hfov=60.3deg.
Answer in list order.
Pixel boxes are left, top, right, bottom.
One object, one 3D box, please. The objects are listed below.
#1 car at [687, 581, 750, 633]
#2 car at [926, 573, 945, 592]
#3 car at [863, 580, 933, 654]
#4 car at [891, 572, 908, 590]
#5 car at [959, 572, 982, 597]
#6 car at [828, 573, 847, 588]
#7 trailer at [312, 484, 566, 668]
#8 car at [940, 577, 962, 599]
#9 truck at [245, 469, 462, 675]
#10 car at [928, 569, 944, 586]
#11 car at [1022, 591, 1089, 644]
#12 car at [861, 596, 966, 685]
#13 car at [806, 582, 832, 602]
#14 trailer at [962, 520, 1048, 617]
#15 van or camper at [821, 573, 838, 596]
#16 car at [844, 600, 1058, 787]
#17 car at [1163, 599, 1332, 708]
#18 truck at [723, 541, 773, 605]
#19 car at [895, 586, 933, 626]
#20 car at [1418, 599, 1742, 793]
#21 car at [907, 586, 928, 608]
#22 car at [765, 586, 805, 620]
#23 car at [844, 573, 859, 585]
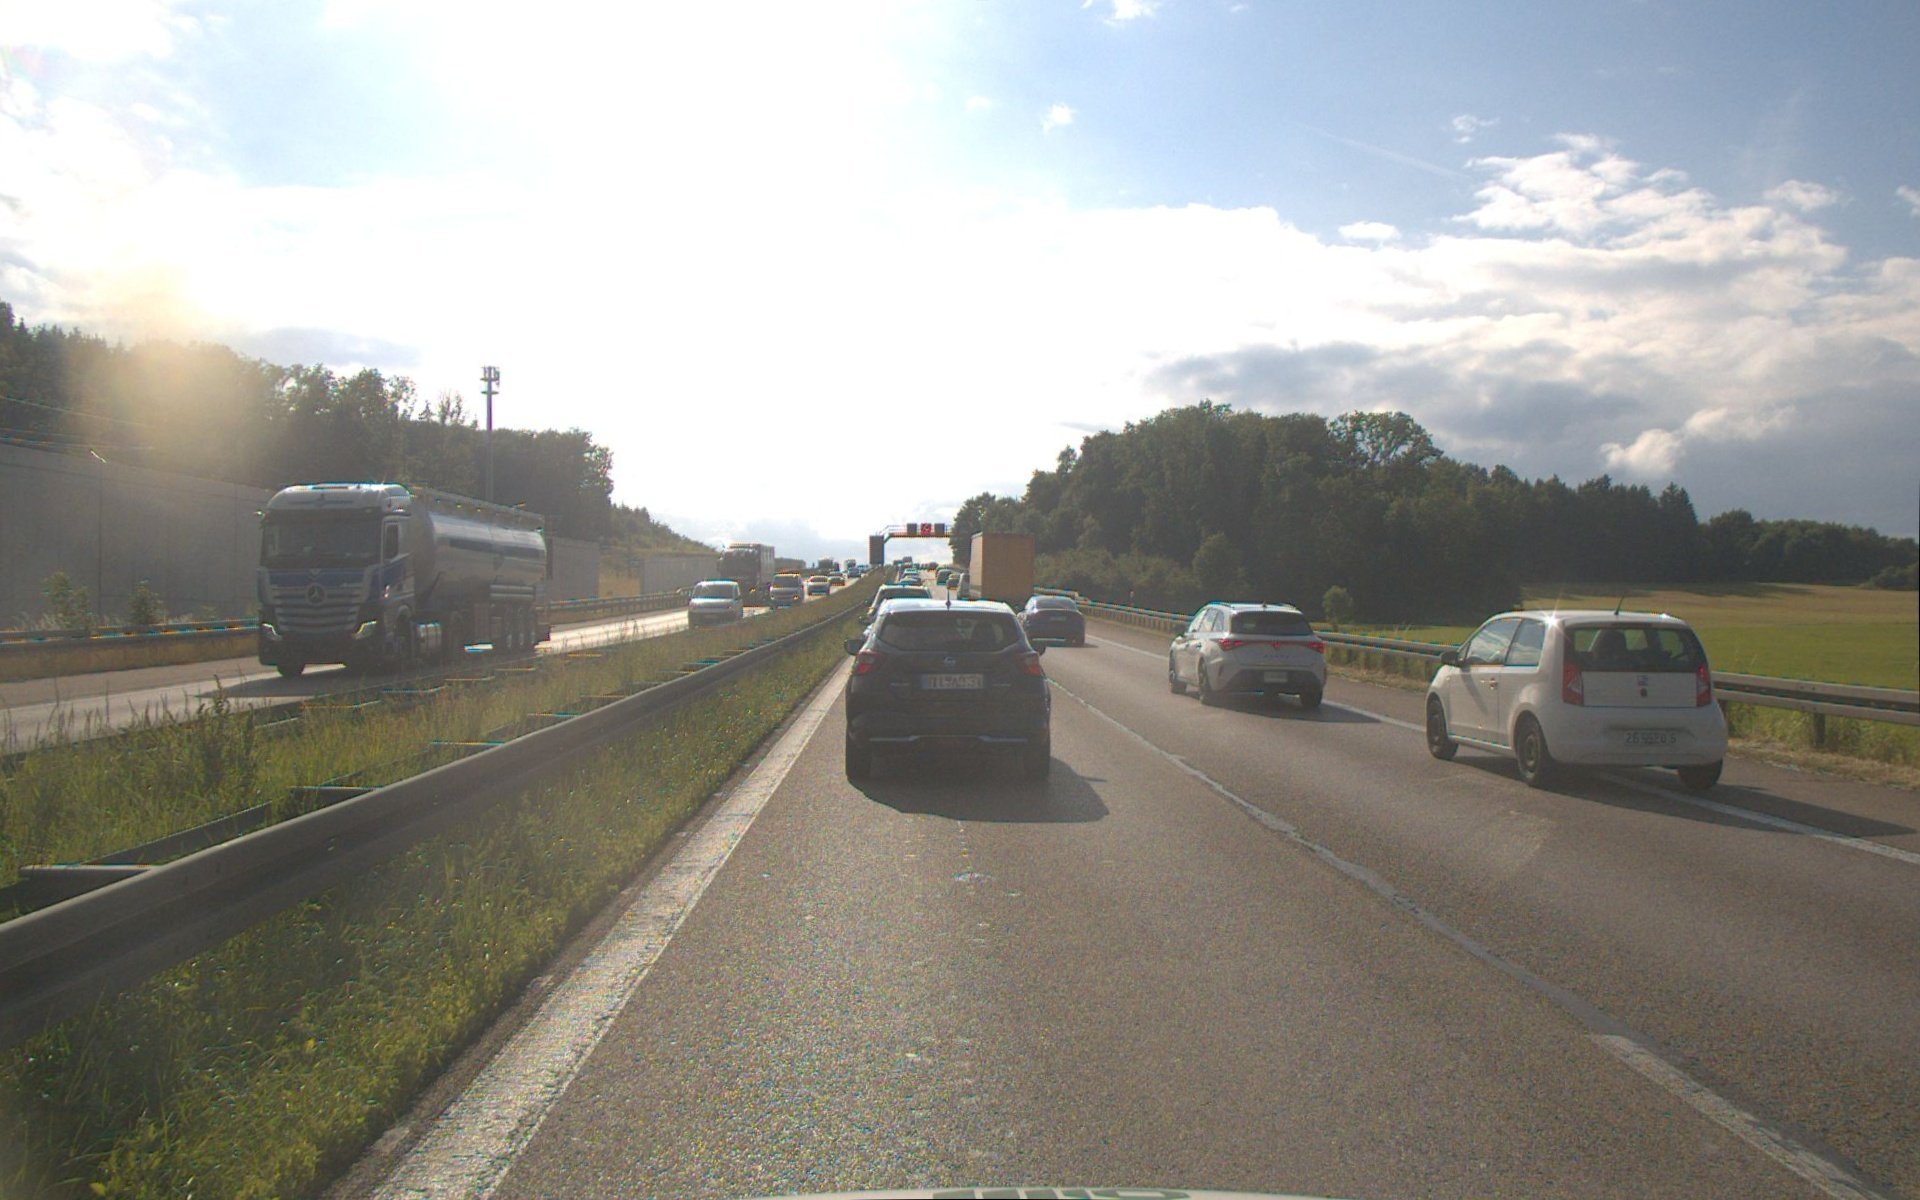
[{"bbox_3d":[-9.156,0.276,63.016,1.822,1.866,4.279,1,0,-1],"label":"car"},{"bbox_3d":[-2.674,-1.878,179.897,1.954,2.049,3.998,1,0,-3],"label":"car"},{"bbox_3d":[-1.521,0.423,41.490,1.640,1.756,3.595,1,0,-1],"label":"car"},{"bbox_3d":[-7.232,-2.281,198.592,1.954,2.049,3.998,1,0,-3],"label":"car"},{"bbox_3d":[0.779,-1.179,124.721,1.633,1.785,3.326,1,0,0],"label":"car"},{"bbox_3d":[-13.238,-2.062,178.290,1.864,1.490,4.182,1,0,-2],"label":"car"},{"bbox_3d":[-12.493,-0.483,41.196,2.489,3.837,12.538,-1,0,-1],"label":"trailer"},{"bbox_3d":[-0.861,-1.136,160.134,1.954,2.049,3.998,1,0,-3],"label":"car"},{"bbox_3d":[-12.379,-0.527,34.226,2.501,3.865,5.416,-1,0,-1],"label":"truck"},{"bbox_3d":[-3.177,-2.959,215.788,1.954,2.049,3.998,1,0,-3],"label":"car"},{"bbox_3d":[2.819,0.507,49.655,1.711,1.501,4.146,1,0,-1],"label":"car"},{"bbox_3d":[-0.763,0.659,28.162,1.640,1.391,3.595,1,0,-1],"label":"car"},{"bbox_3d":[-11.828,-0.653,139.052,1.850,1.660,5.108,1,0,-2],"label":"car"},{"bbox_3d":[2.123,-1.451,84.317,3.477,4.535,12.716,1,0,-2],"label":"trailer"},{"bbox_3d":[-18.322,-2.199,232.454,2.181,3.133,6.509,1,0,-3],"label":"van or camper"},{"bbox_3d":[-0.075,0.752,14.755,1.675,1.451,3.377,1,0,0],"label":"car"},{"bbox_3d":[4.195,0.747,24.704,1.588,1.471,4.144,1,0,-3],"label":"car"},{"bbox_3d":[-14.391,-1.775,112.812,2.698,4.162,6.950,0,0,-2],"label":"truck"},{"bbox_3d":[-2.465,0.307,87.966,1.954,2.049,3.998,1,0,-3],"label":"car"},{"bbox_3d":[5.483,0.778,15.046,1.518,1.521,3.376,1,0,-3],"label":"car"},{"bbox_3d":[-3.563,-0.227,137.816,1.633,1.785,3.326,1,0,0],"label":"car"},{"bbox_3d":[-10.473,0.192,99.275,1.953,1.916,4.785,-2,0,-2],"label":"car"},{"bbox_3d":[-14.528,-2.789,221.514,1.953,1.458,4.446,1,0,-3],"label":"car"}]
